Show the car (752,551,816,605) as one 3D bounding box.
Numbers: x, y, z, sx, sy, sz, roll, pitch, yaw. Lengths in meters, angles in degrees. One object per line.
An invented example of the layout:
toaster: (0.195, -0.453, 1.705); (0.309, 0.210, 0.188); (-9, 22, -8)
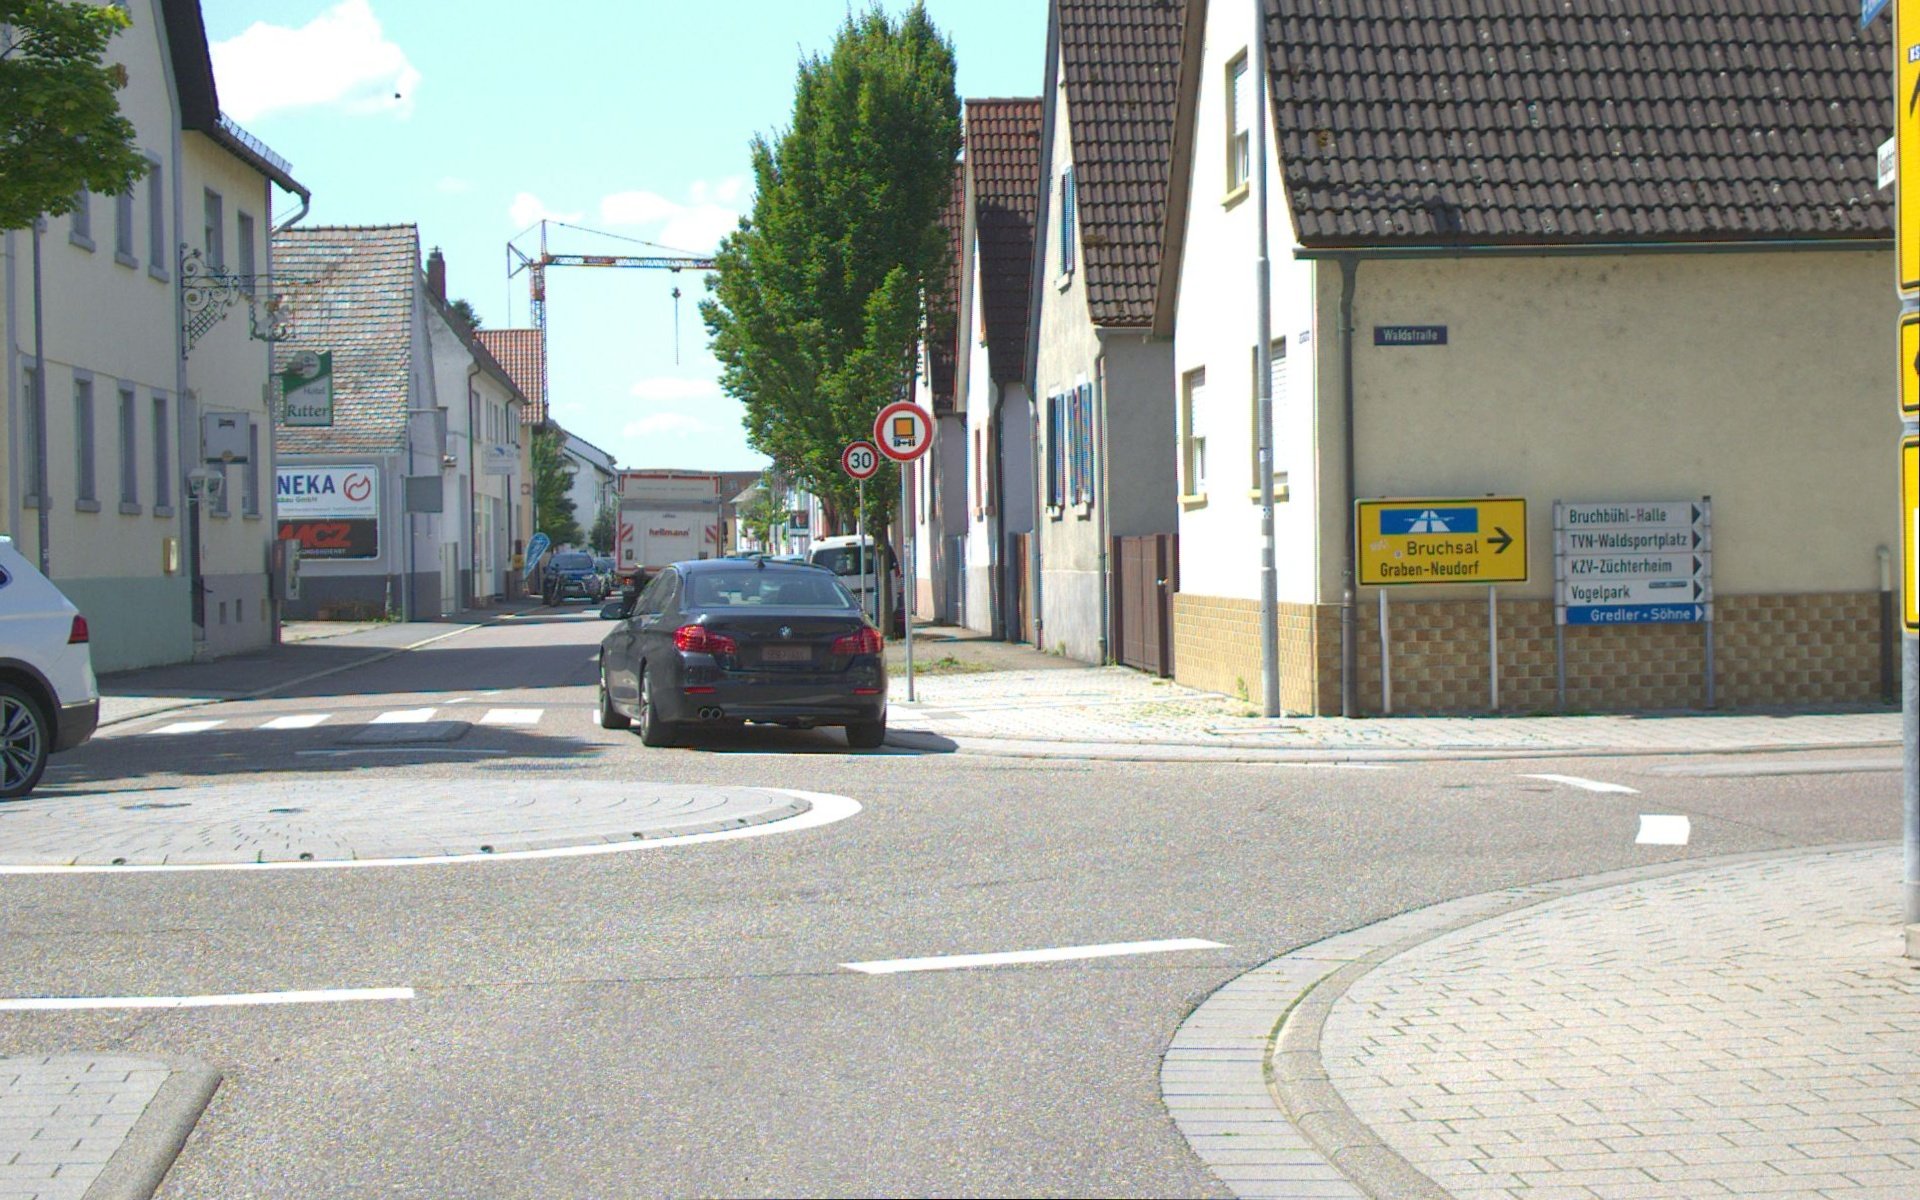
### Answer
car: (-4.877, -0.632, 95.700); (1.719, 1.456, 4.157); (0, 1, -3)

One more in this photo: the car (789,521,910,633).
car: (-1.936, -0.420, 58.998); (1.719, 1.784, 4.145); (-2, 1, -6)

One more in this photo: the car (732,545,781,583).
car: (-7.351, -1.312, 124.028); (1.719, 1.350, 4.157); (0, 1, -4)

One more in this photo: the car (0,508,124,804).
car: (-7.094, 0.363, 19.275); (1.870, 1.704, 4.533); (0, 1, 35)

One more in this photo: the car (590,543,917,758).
car: (-1.750, 0.331, 27.543); (1.901, 1.558, 4.478); (-1, 1, -13)

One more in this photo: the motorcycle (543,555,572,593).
motorcycle: (-12.366, -0.799, 105.678); (0.846, 1.166, 2.470); (1, 0, -6)

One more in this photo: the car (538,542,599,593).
car: (-12.476, -1.044, 109.636); (1.809, 1.583, 4.001); (0, 1, -5)

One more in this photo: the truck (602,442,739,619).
truck: (-7.282, -1.701, 87.573); (3.144, 4.236, 9.303); (1, 0, -3)
